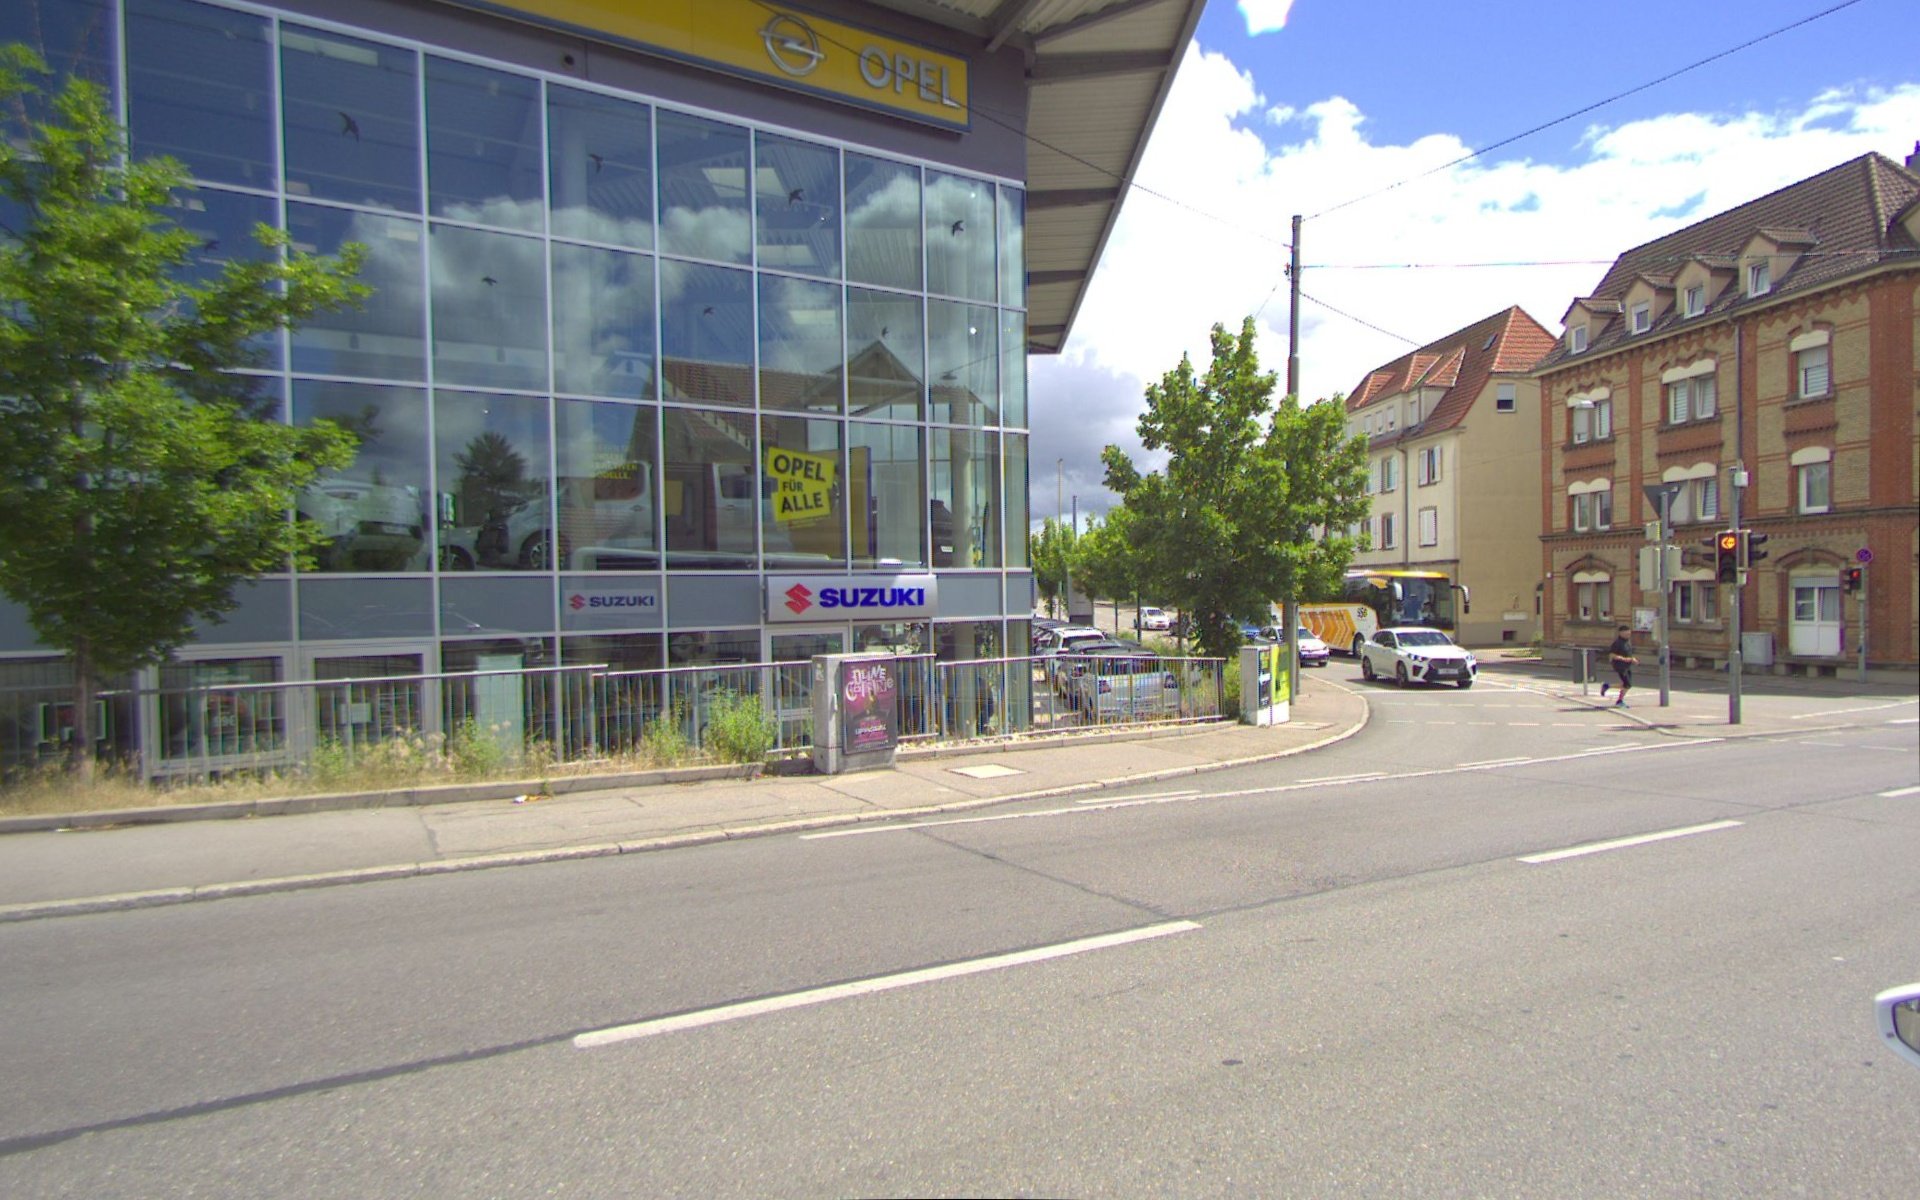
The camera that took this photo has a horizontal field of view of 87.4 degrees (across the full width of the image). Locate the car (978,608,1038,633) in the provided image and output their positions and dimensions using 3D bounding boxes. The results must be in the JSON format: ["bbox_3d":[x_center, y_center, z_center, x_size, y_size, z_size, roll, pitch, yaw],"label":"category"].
[{"bbox_3d":[3.216,1.361,67.534,3.922,1.574,1.807,1,-1,-1],"label":"car"}]

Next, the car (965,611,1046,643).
[{"bbox_3d":[2.356,1.411,52.788,3.930,1.574,1.804,1,-1,-12],"label":"car"}]

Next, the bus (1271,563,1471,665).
[{"bbox_3d":[16.906,0.591,42.733,2.718,3.670,12.258,1,-1,-4],"label":"bus"}]

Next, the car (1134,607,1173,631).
[{"bbox_3d":[13.718,1.346,71.407,1.874,1.574,3.999,1,-1,-2],"label":"car"}]

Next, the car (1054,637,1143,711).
[{"bbox_3d":[3.309,1.743,24.620,1.584,1.547,3.499,-1,0,-2],"label":"car"}]

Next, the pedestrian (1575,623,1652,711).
[{"bbox_3d":[13.443,1.352,20.683,0.751,1.757,1.133,1,-1,-34],"label":"pedestrian"}]

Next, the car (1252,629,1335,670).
[{"bbox_3d":[12.328,1.815,37.387,1.847,1.437,3.621,-1,-2,0],"label":"car"}]

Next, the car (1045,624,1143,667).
[{"bbox_3d":[4.950,1.680,37.391,3.430,1.497,1.800,1,-1,1],"label":"car"}]

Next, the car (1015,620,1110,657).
[{"bbox_3d":[4.550,1.700,44.957,3.925,1.574,1.806,1,-1,-7],"label":"car"}]

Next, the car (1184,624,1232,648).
[{"bbox_3d":[15.573,2.262,63.305,1.874,1.428,3.999,1,-1,-2],"label":"car"}]

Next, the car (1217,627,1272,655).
[{"bbox_3d":[15.687,2.227,55.619,1.717,1.428,3.999,1,-1,-3],"label":"car"}]

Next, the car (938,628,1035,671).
[{"bbox_3d":[0.949,1.795,36.949,3.432,1.467,1.799,-1,0,-3],"label":"car"}]

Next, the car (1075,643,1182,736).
[{"bbox_3d":[3.333,1.738,20.355,1.648,1.582,3.365,-1,0,1],"label":"car"}]

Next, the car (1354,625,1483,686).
[{"bbox_3d":[12.760,1.581,28.277,1.797,1.572,4.310,0,-4,3],"label":"car"}]

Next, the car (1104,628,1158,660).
[{"bbox_3d":[8.272,2.128,48.920,1.766,1.467,3.498,1,-1,-5],"label":"car"}]

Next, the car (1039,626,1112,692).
[{"bbox_3d":[3.301,1.655,29.249,1.620,1.703,3.499,-1,0,-2],"label":"car"}]
